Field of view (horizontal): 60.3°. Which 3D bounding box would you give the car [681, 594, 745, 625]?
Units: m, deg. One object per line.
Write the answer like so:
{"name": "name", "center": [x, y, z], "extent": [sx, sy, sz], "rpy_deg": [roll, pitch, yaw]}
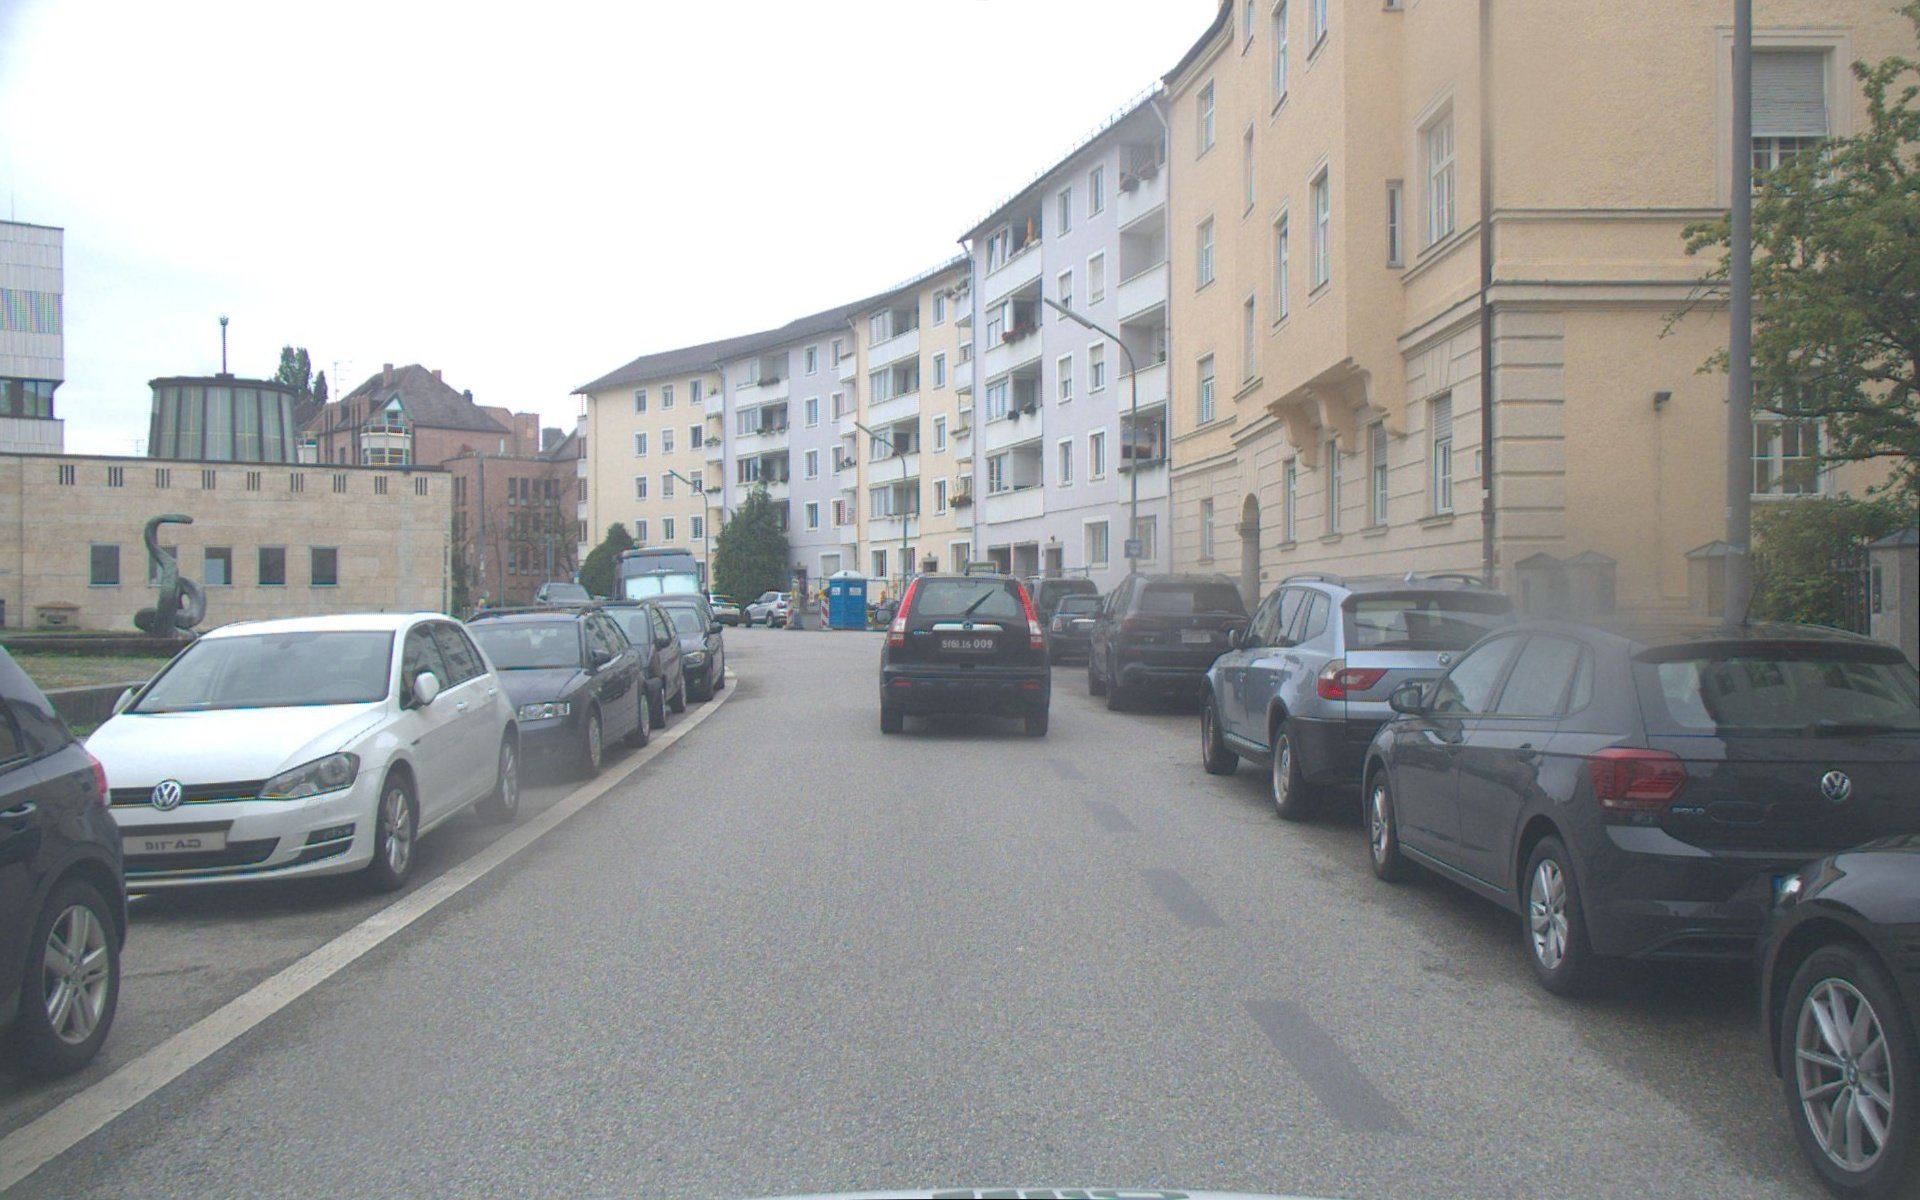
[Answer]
{"name": "car", "center": [-12.724, 0.471, 84.953], "extent": [1.709, 1.509, 3.952], "rpy_deg": [1, 0, -34]}

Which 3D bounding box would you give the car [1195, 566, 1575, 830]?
{"name": "car", "center": [2.995, 0.616, 12.654], "extent": [1.687, 1.663, 4.456], "rpy_deg": [0, 0, -1]}

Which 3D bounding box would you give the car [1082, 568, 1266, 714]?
{"name": "car", "center": [2.807, 0.504, 22.698], "extent": [1.831, 1.747, 4.865], "rpy_deg": [1, 0, 0]}

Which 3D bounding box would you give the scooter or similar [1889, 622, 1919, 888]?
{"name": "scooter or similar", "center": [4.544, 0.691, 7.039], "extent": [0.475, 1.184, 1.171], "rpy_deg": [1, -1, -3]}

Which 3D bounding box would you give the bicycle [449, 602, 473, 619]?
{"name": "bicycle", "center": [-38.886, 0.819, 128.881], "extent": [1.737, 1.311, 0.547], "rpy_deg": [0, 0, -32]}

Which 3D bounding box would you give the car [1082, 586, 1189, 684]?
{"name": "car", "center": [2.955, 0.559, 28.306], "extent": [1.503, 1.550, 3.111], "rpy_deg": [1, 0, 1]}

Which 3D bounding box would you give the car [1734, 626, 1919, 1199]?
{"name": "car", "center": [3.100, 0.801, 2.541], "extent": [1.645, 1.452, 4.389], "rpy_deg": [0, 0, -2]}

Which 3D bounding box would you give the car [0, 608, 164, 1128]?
{"name": "car", "center": [-3.525, 0.803, 3.808], "extent": [1.624, 1.479, 3.971], "rpy_deg": [-2, 0, -4]}

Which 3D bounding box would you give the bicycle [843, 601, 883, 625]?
{"name": "bicycle", "center": [-4.653, 0.621, 79.193], "extent": [1.840, 1.110, 0.561], "rpy_deg": [0, 0, -23]}

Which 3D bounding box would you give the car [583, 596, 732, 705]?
{"name": "car", "center": [-4.445, 0.682, 24.876], "extent": [1.764, 1.430, 4.450], "rpy_deg": [-2, 0, -5]}

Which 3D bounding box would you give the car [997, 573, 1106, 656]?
{"name": "car", "center": [2.148, 0.324, 39.860], "extent": [1.745, 1.838, 4.267], "rpy_deg": [1, 0, -9]}

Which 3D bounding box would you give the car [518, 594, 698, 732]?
{"name": "car", "center": [-4.174, 0.692, 20.049], "extent": [1.624, 1.479, 3.310], "rpy_deg": [-2, 0, -4]}

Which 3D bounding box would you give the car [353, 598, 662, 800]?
{"name": "car", "center": [-3.891, 0.760, 14.997], "extent": [1.720, 1.479, 4.394], "rpy_deg": [-2, 0, -3]}

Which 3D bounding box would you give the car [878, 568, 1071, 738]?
{"name": "car", "center": [0.047, 0.523, 18.421], "extent": [1.853, 1.676, 3.988], "rpy_deg": [0, 0, -4]}

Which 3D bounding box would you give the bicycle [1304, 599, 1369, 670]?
{"name": "bicycle", "center": [6.258, 0.552, 27.565], "extent": [0.567, 1.102, 1.953], "rpy_deg": [-3, 0, -1]}

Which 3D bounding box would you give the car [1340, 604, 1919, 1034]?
{"name": "car", "center": [3.096, 0.752, 7.705], "extent": [1.645, 1.452, 4.086], "rpy_deg": [0, 0, -1]}

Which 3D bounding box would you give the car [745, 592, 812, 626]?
{"name": "car", "center": [-8.388, 0.398, 76.228], "extent": [1.705, 1.509, 3.963], "rpy_deg": [1, 0, -28]}

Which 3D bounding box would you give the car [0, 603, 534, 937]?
{"name": "car", "center": [-3.768, 0.797, 9.797], "extent": [1.624, 1.479, 4.070], "rpy_deg": [-2, 0, -4]}

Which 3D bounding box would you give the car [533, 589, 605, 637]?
{"name": "car", "center": [-14.903, 0.468, 62.878], "extent": [1.659, 1.737, 4.473], "rpy_deg": [0, 0, -27]}

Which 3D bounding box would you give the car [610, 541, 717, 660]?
{"name": "car", "center": [-7.438, -0.014, 40.958], "extent": [2.128, 2.688, 5.994], "rpy_deg": [-1, 1, -14]}

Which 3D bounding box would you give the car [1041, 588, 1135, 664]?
{"name": "car", "center": [2.646, 0.521, 34.841], "extent": [1.673, 1.472, 3.830], "rpy_deg": [1, 0, 0]}
